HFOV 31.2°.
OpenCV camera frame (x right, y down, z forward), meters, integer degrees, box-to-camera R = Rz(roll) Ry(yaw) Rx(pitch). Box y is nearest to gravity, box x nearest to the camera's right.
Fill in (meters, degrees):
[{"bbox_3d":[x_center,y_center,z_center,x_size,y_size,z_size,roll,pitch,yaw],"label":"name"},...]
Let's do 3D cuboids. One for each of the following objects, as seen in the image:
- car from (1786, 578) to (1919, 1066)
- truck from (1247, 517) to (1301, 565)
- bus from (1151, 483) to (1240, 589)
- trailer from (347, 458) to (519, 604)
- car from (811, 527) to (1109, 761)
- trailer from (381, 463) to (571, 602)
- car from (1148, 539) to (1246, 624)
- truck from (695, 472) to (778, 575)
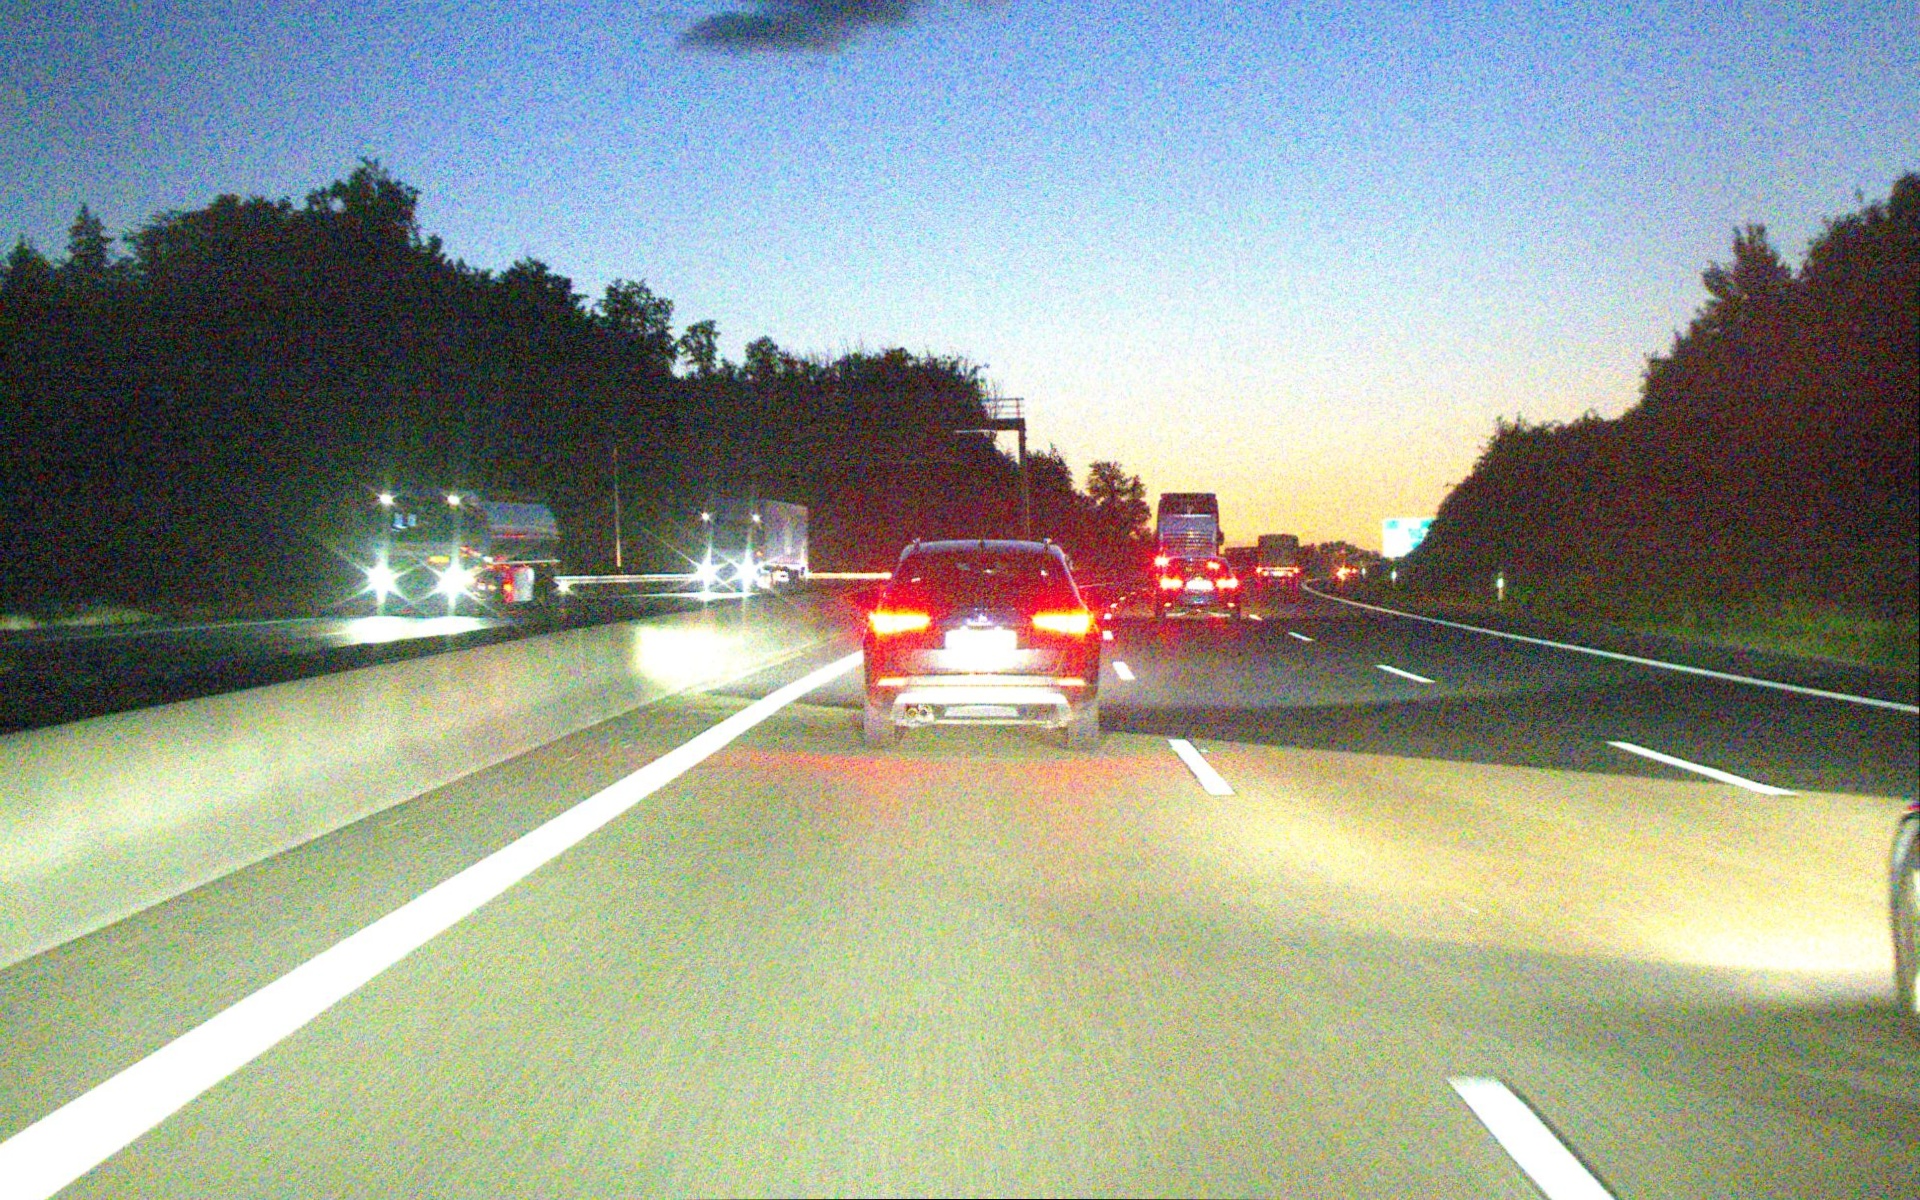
[{"bbox_3d":[3.737,0.674,8.892,1.835,1.396,5.070,0,1,-2],"label":"car"},{"bbox_3d":[20.099,-3.753,220.305,2.546,3.005,9.053,0,1,0],"label":"truck"},{"bbox_3d":[10.072,-2.613,145.825,2.653,3.980,14.696,-3,-1,8],"label":"bus"},{"bbox_3d":[-13.858,-1.796,90.971,3.057,3.676,7.228,1,1,3],"label":"trailer"},{"bbox_3d":[0.044,0.271,26.695,2.106,1.612,4.204,1,2,1],"label":"car"},{"bbox_3d":[-13.518,-1.871,97.135,3.057,3.676,11.685,1,1,3],"label":"trailer"},{"bbox_3d":[5.160,-0.379,75.219,1.911,1.724,4.000,3,0,2],"label":"car"},{"bbox_3d":[-9.827,-3.350,151.679,2.852,4.418,6.396,1,1,3],"label":"truck"}]
